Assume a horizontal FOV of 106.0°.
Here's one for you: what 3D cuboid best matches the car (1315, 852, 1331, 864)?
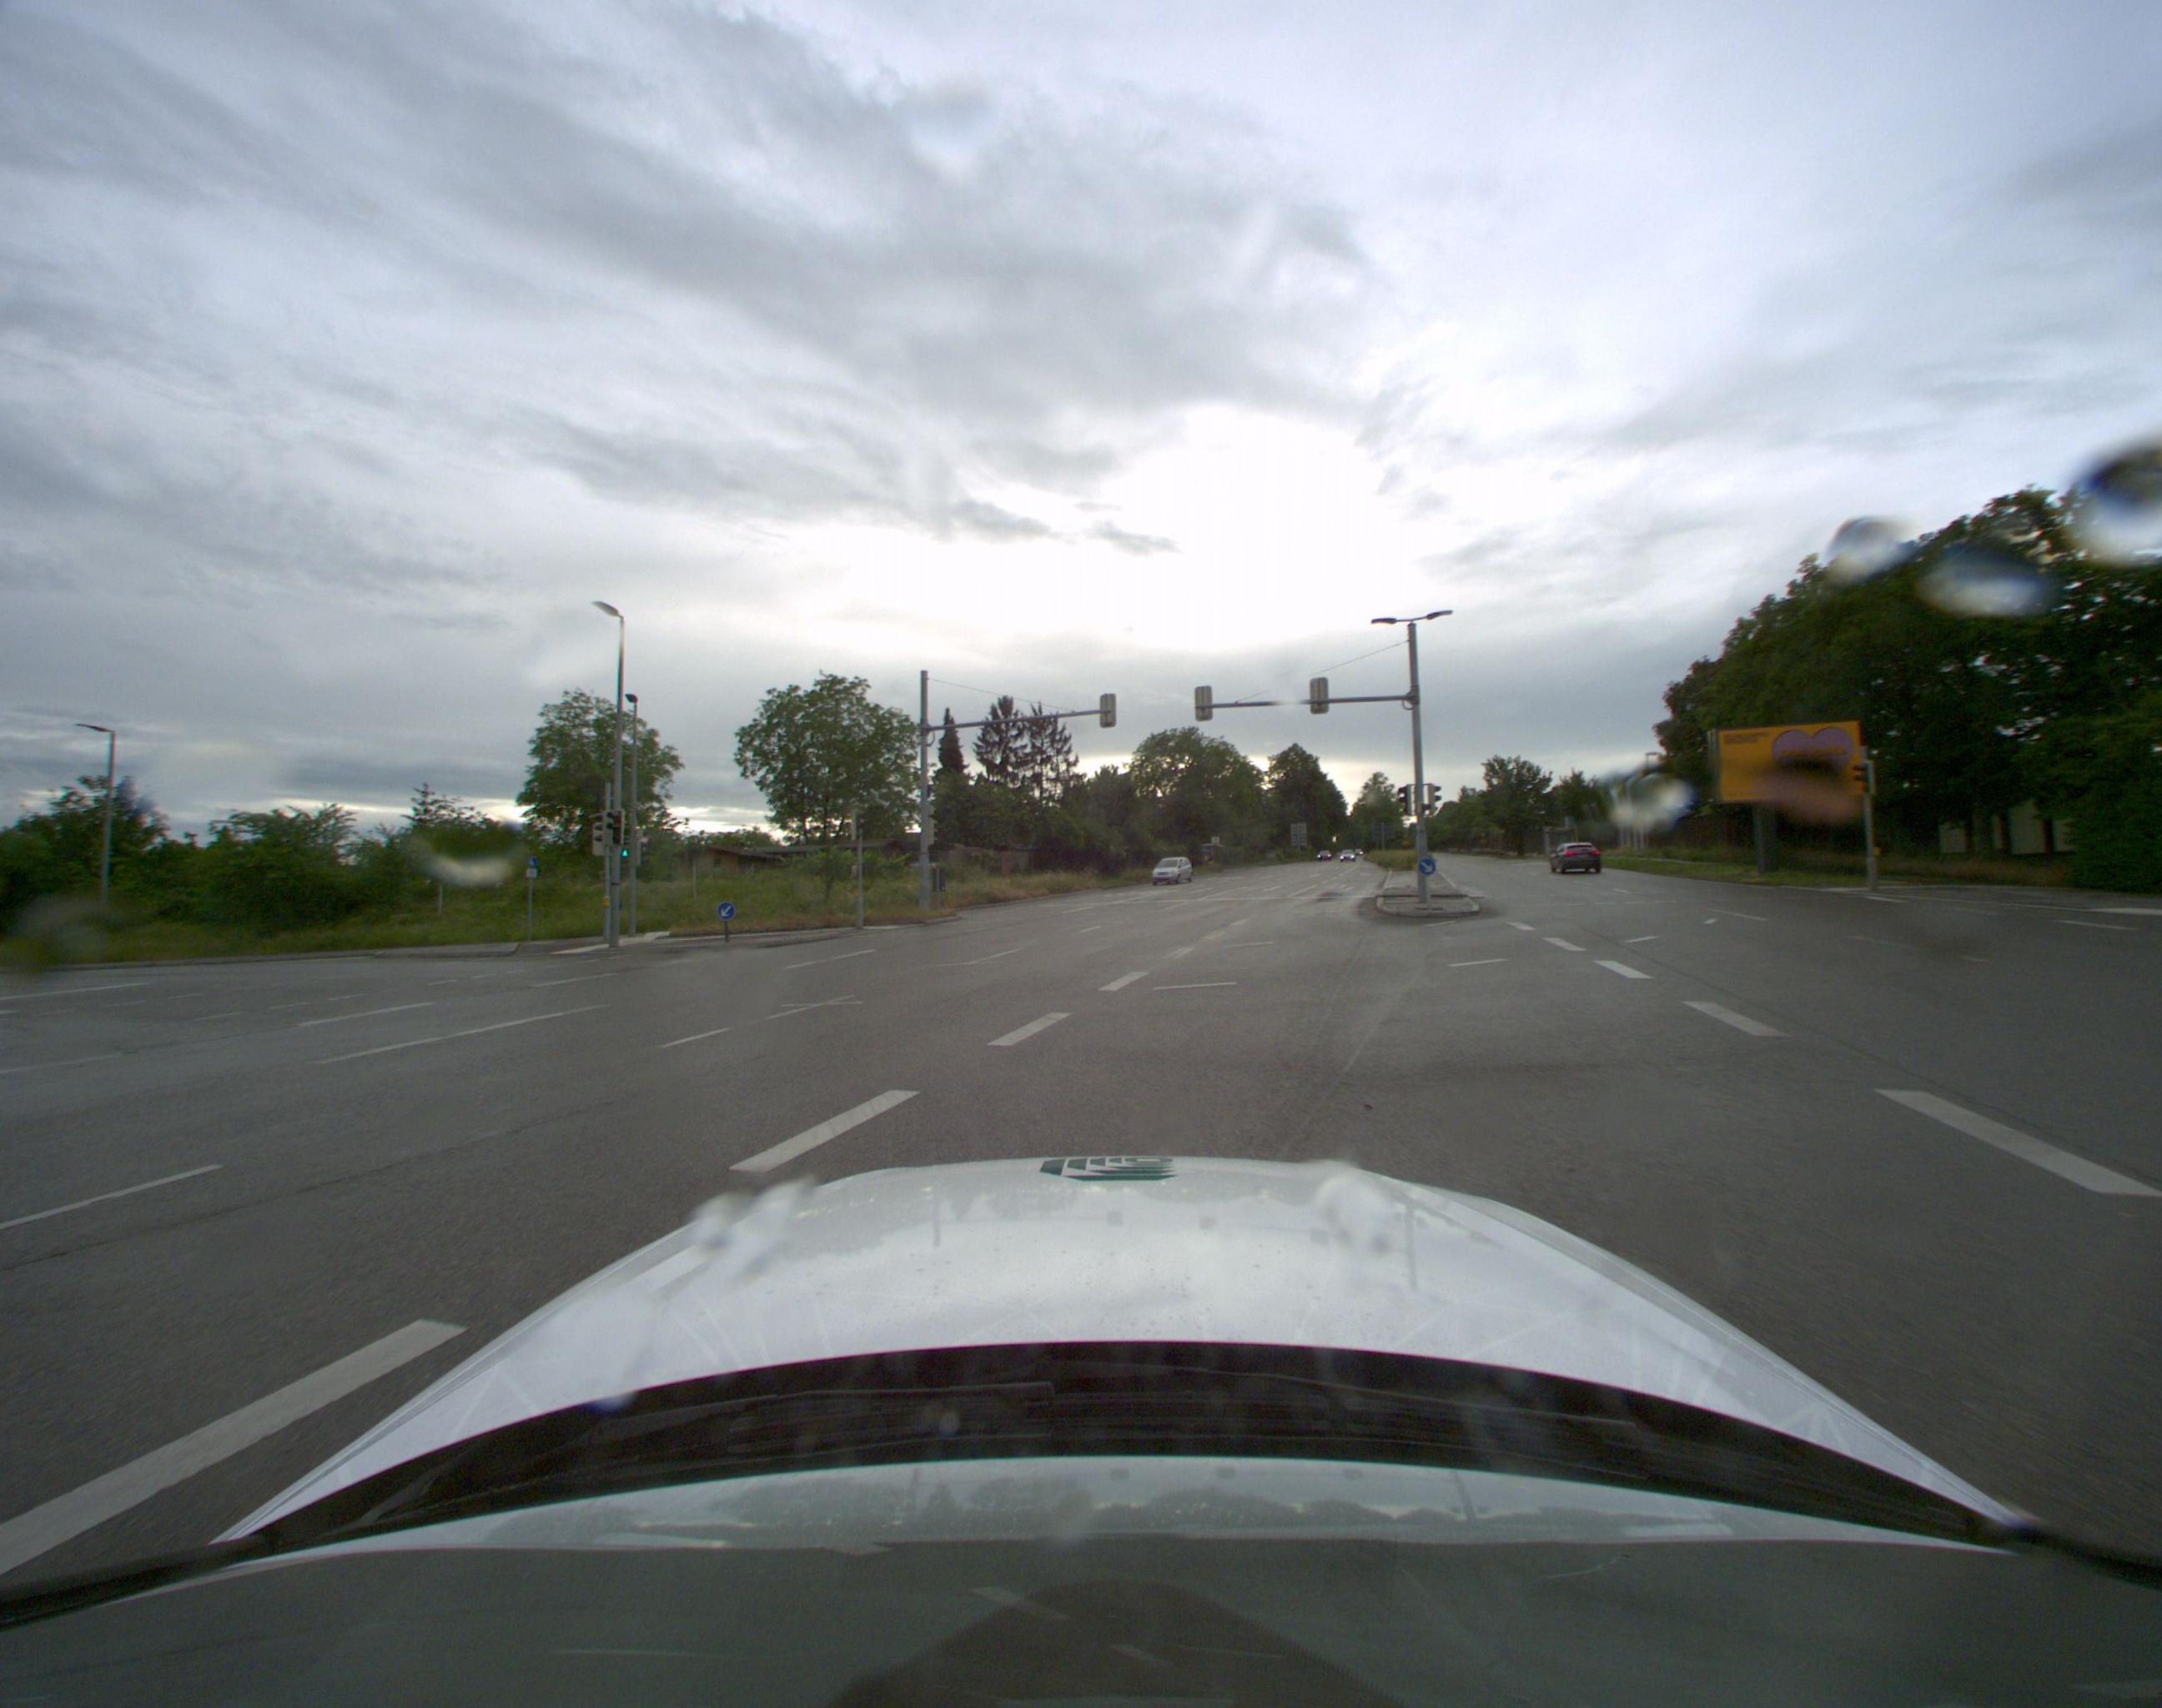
[{"bbox_3d":[34.739,0.608,116.843,1.877,1.596,4.512,-2,-1,21],"label":"car"}]

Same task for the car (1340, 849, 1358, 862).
[{"bbox_3d":[33.668,0.183,102.114,1.877,1.534,4.512,-2,-1,21],"label":"car"}]

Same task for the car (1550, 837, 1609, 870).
[{"bbox_3d":[24.514,-0.033,40.186,1.730,1.470,4.188,-2,-1,21],"label":"car"}]

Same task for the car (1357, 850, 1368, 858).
[{"bbox_3d":[59.620,0.089,172.342,1.877,1.596,4.512,-2,-1,21],"label":"car"}]

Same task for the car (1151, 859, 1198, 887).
[{"bbox_3d":[5.933,1.173,51.278,1.753,1.596,4.512,-2,-1,21],"label":"car"}]
